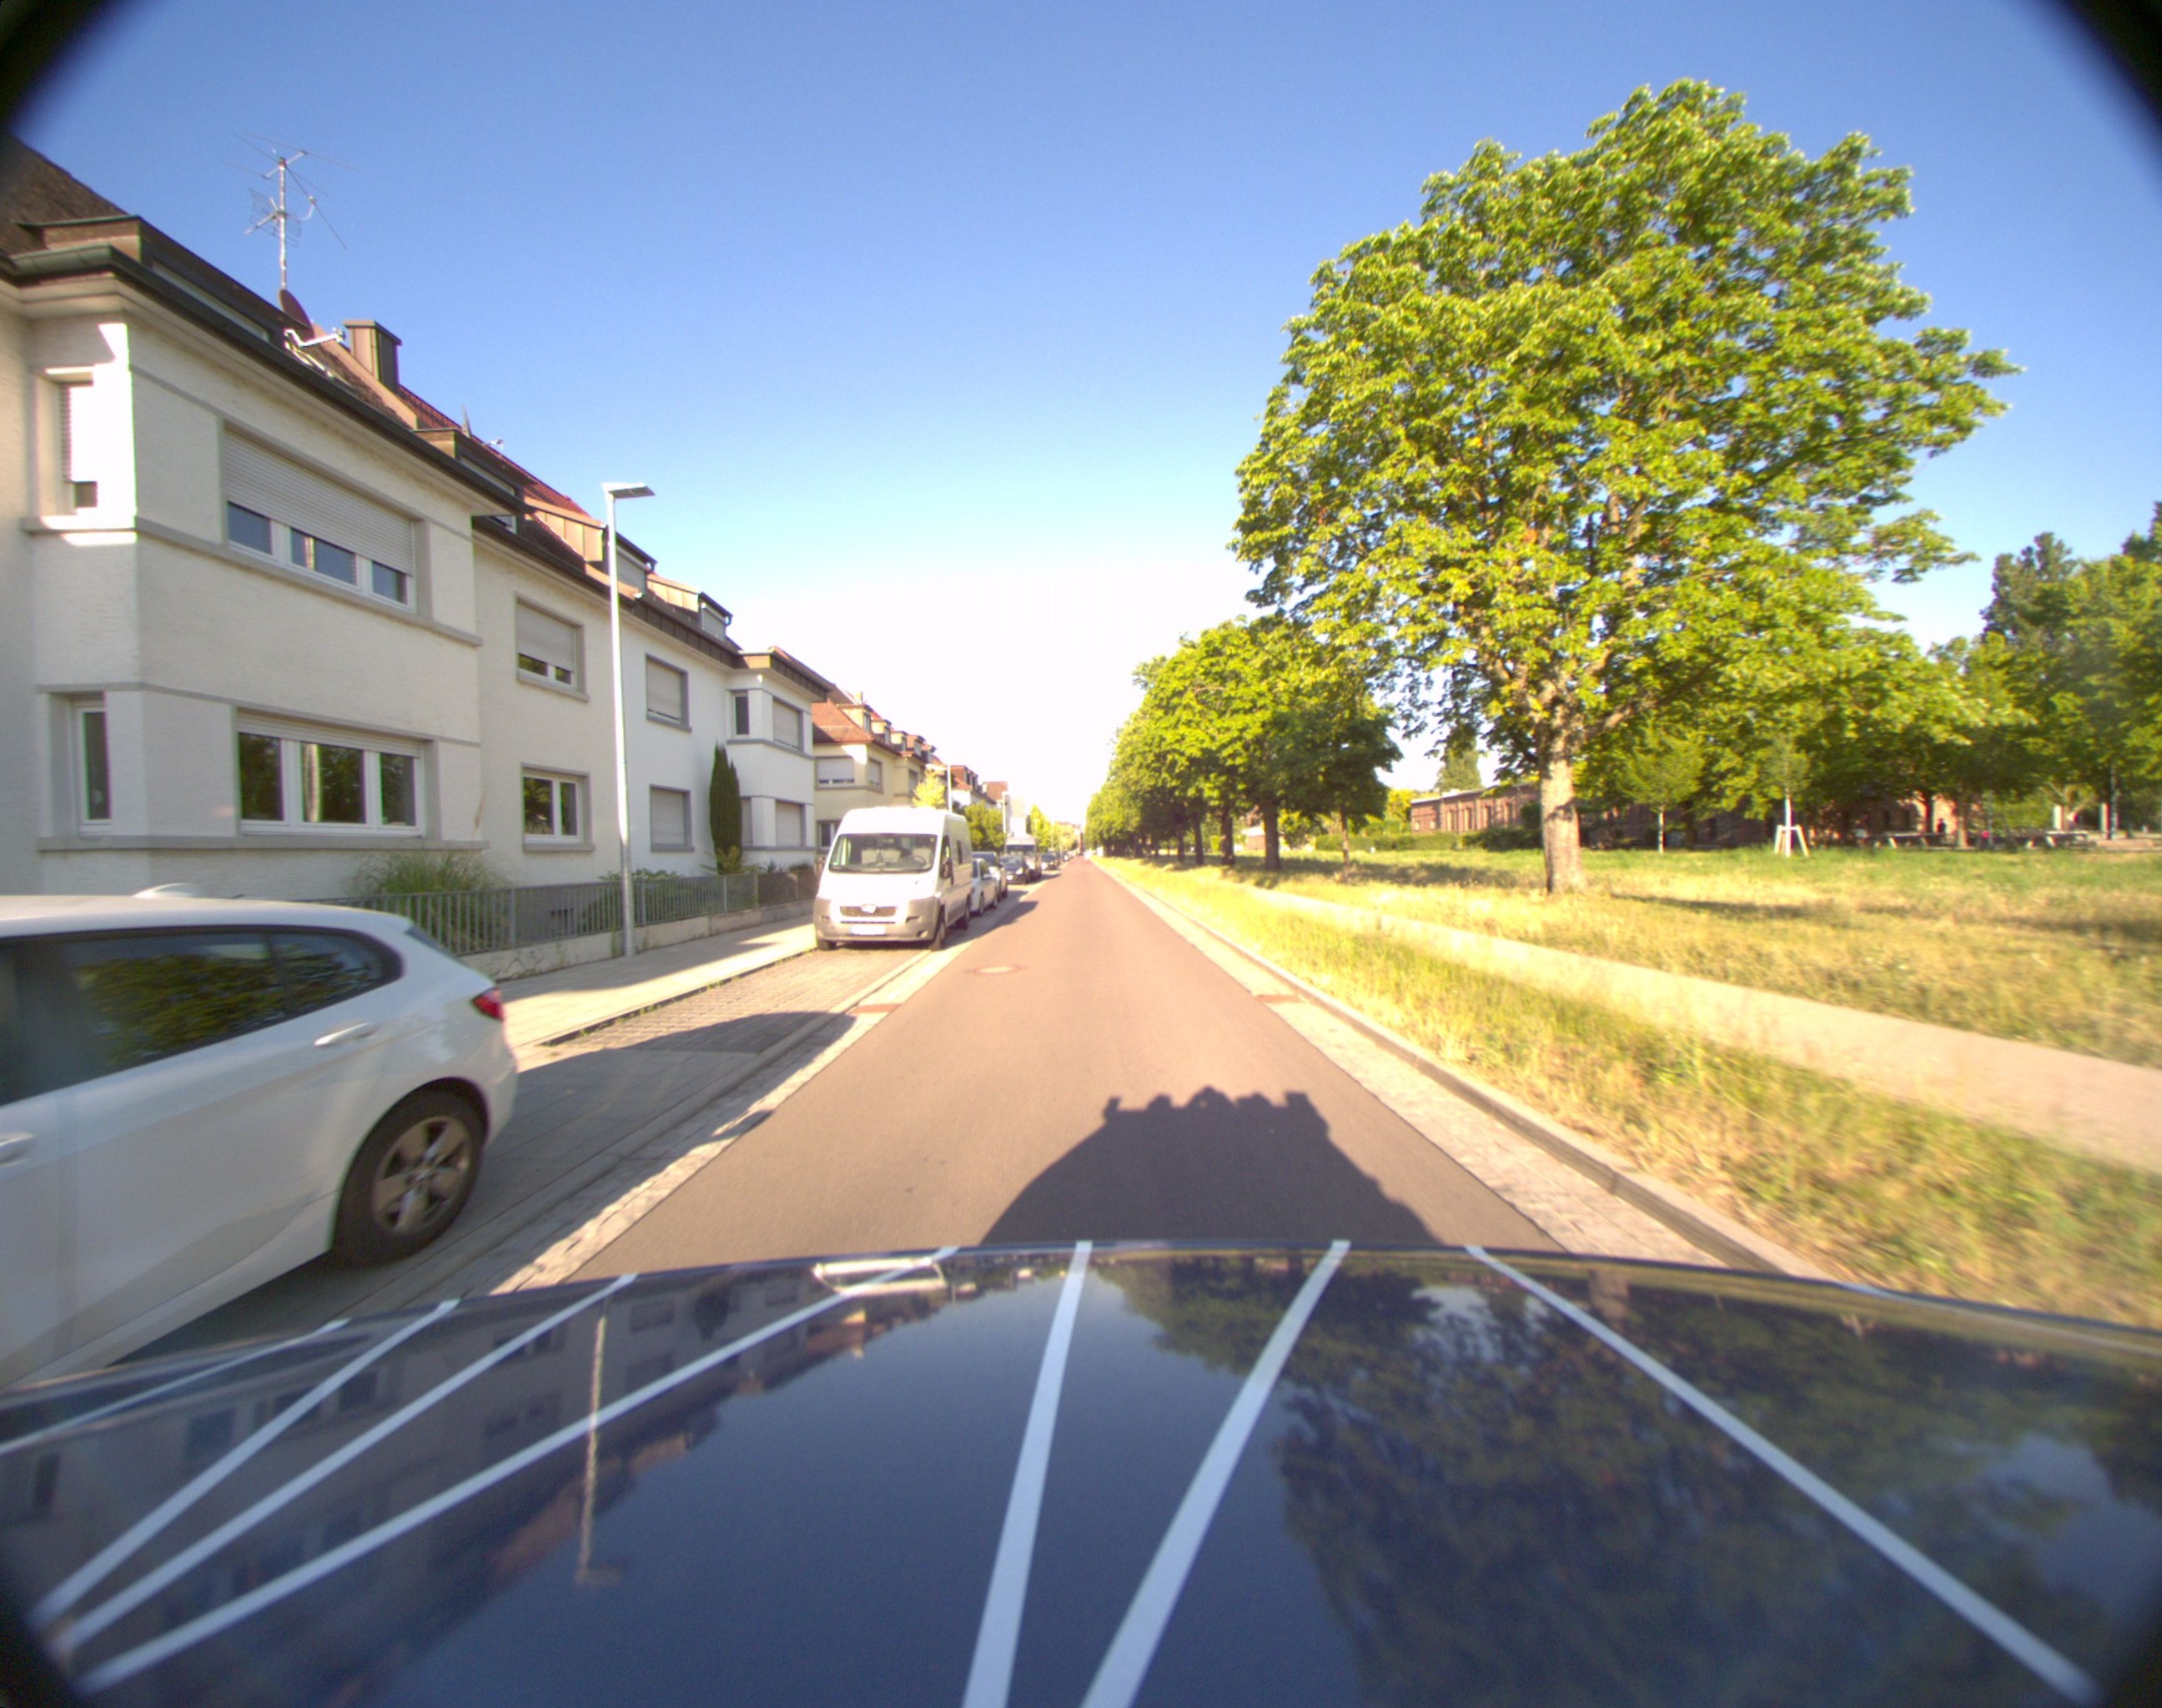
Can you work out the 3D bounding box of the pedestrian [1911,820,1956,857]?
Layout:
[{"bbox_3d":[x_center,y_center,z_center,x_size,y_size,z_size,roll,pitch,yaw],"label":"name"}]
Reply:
[{"bbox_3d":[43.455,-0.779,38.728,1.115,1.852,0.984,-2,0,7],"label":"pedestrian"}]

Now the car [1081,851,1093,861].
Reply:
[{"bbox_3d":[0.951,0.307,126.447,1.974,1.630,3.999,-2,1,0],"label":"car"}]

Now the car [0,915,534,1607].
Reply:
[{"bbox_3d":[-3.449,1.030,1.448,1.787,1.498,4.233,0,0,-1],"label":"car"}]

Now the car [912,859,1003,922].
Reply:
[{"bbox_3d":[-3.172,0.883,20.223,1.626,1.474,4.108,-1,0,1],"label":"car"}]

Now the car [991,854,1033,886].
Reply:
[{"bbox_3d":[-3.450,0.762,38.524,1.629,1.431,4.004,-2,0,1],"label":"car"}]

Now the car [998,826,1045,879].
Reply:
[{"bbox_3d":[-3.415,-0.082,44.826,2.134,2.837,5.987,-2,0,0],"label":"car"}]

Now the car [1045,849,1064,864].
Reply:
[{"bbox_3d":[-3.114,0.280,89.145,1.974,1.630,4.000,-2,1,0],"label":"car"}]

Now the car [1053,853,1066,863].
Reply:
[{"bbox_3d":[-3.737,0.699,132.652,1.974,1.630,4.000,-2,1,0],"label":"car"}]

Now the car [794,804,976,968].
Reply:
[{"bbox_3d":[-3.372,0.485,14.381,2.135,2.503,5.507,0,0,-2],"label":"car"}]

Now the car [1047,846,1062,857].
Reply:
[{"bbox_3d":[-3.812,-0.390,111.440,1.974,1.630,4.000,-2,1,0],"label":"car"}]

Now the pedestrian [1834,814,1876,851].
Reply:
[{"bbox_3d":[39.670,-1.102,38.964,1.115,1.852,0.984,-2,1,7],"label":"pedestrian"}]

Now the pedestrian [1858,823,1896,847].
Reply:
[{"bbox_3d":[43.751,-1.048,41.772,1.116,1.287,0.982,-2,1,-8],"label":"pedestrian"}]

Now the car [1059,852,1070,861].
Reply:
[{"bbox_3d":[-3.119,0.537,148.172,1.974,1.630,4.000,-2,1,0],"label":"car"}]

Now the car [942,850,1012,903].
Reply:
[{"bbox_3d":[-3.447,0.715,25.936,1.782,1.635,4.480,0,0,0],"label":"car"}]

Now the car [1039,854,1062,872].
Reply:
[{"bbox_3d":[-2.804,0.861,71.349,1.974,1.630,4.000,0,0,0],"label":"car"}]
